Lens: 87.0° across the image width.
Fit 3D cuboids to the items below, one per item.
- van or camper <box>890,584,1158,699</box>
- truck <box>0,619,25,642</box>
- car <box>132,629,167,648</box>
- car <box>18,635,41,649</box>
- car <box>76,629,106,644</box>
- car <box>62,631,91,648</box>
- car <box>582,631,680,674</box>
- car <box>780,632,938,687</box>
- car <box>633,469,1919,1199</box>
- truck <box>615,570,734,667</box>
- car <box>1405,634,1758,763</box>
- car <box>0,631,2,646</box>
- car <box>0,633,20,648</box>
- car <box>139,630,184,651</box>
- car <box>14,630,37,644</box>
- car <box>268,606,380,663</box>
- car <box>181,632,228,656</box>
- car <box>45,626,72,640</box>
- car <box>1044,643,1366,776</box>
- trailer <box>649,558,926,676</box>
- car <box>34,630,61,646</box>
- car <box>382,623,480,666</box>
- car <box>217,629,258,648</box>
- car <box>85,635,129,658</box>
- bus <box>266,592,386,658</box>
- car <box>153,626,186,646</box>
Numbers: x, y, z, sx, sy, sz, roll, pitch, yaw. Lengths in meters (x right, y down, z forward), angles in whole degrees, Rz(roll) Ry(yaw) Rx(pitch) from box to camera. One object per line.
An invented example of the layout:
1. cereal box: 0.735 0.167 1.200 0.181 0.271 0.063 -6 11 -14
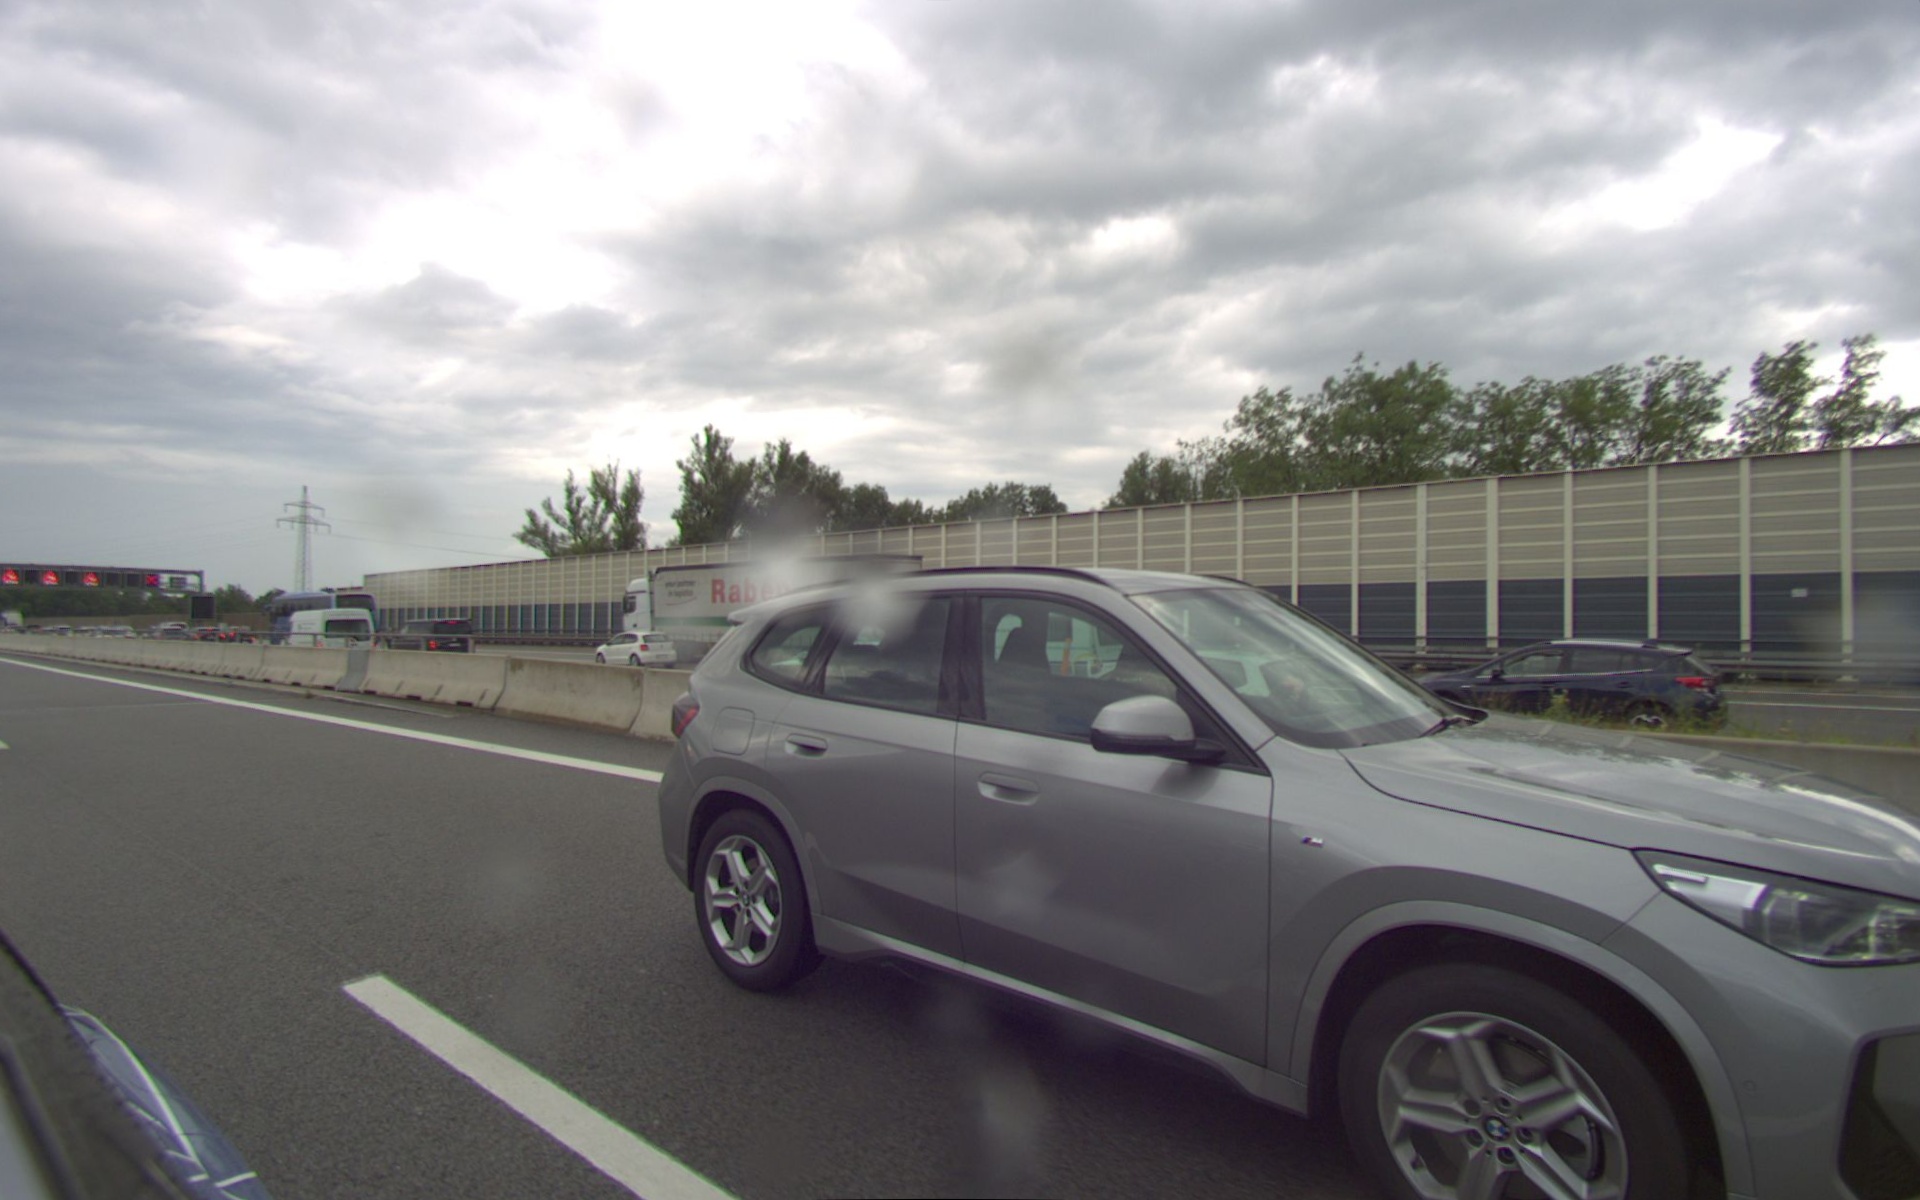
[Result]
1. van or camper: 1.489 1.037 26.663 7.146 2.661 2.320 -2 -2 41
2. truck: -161.746 5.164 172.632 6.047 3.917 2.724 -2 -2 41
3. car: -72.761 3.460 90.812 4.175 1.623 1.729 -2 -2 41
4. car: -126.234 5.697 137.349 4.162 1.862 1.730 -1 -2 40
5. car: -95.005 4.004 110.595 4.388 1.643 1.730 -1 -2 40
6. car: -84.714 3.751 96.995 3.617 1.592 1.604 -2 -2 41
7. car: -12.748 1.987 39.147 4.175 1.537 1.729 -2 -2 41
8. car: -3.146 1.741 30.673 5.137 1.537 1.729 -2 -2 41
9. car: 1.054 0.628 3.413 4.911 1.637 1.817 -2 -1 41
10. truck: -12.522 0.798 44.224 5.174 3.964 2.550 -2 0 41
11. car: 9.187 1.340 15.163 4.250 1.611 1.903 -2 -2 41
12. car: -105.824 4.170 110.324 3.746 1.643 1.729 -2 -2 41
13. car: -95.151 4.059 101.063 3.574 1.404 1.555 -2 -2 41
14. car: -59.465 2.983 75.339 4.924 1.537 1.729 -2 -2 41
15. car: -114.420 4.497 123.853 4.165 1.643 1.728 -2 -2 42
16. car: -25.255 1.353 40.070 6.011 2.087 2.137 -2 -2 41
17. car: -50.410 2.916 67.498 4.175 1.537 1.729 -2 -2 41
18. car: -108.186 3.915 121.384 4.522 1.643 1.803 -1 -2 40
19. car: 3.525 1.483 15.006 4.250 1.611 1.903 -2 -2 41
20. trailer: -7.231 0.693 39.556 13.809 3.964 2.536 -2 0 41
21. car: -96.907 4.033 107.461 4.165 1.643 1.728 -2 -2 42
22. car: -22.245 1.832 42.488 4.799 1.672 2.057 -2 -2 41
23. car: -63.611 3.365 89.085 5.685 1.623 1.729 -2 -2 41
24. car: -58.720 3.182 69.626 4.175 1.537 1.729 -2 -2 41
25. bus: -39.857 1.578 63.352 11.875 3.787 3.060 -2 -2 41
26. car: -80.279 3.645 102.751 4.778 1.908 1.730 -1 -2 40
